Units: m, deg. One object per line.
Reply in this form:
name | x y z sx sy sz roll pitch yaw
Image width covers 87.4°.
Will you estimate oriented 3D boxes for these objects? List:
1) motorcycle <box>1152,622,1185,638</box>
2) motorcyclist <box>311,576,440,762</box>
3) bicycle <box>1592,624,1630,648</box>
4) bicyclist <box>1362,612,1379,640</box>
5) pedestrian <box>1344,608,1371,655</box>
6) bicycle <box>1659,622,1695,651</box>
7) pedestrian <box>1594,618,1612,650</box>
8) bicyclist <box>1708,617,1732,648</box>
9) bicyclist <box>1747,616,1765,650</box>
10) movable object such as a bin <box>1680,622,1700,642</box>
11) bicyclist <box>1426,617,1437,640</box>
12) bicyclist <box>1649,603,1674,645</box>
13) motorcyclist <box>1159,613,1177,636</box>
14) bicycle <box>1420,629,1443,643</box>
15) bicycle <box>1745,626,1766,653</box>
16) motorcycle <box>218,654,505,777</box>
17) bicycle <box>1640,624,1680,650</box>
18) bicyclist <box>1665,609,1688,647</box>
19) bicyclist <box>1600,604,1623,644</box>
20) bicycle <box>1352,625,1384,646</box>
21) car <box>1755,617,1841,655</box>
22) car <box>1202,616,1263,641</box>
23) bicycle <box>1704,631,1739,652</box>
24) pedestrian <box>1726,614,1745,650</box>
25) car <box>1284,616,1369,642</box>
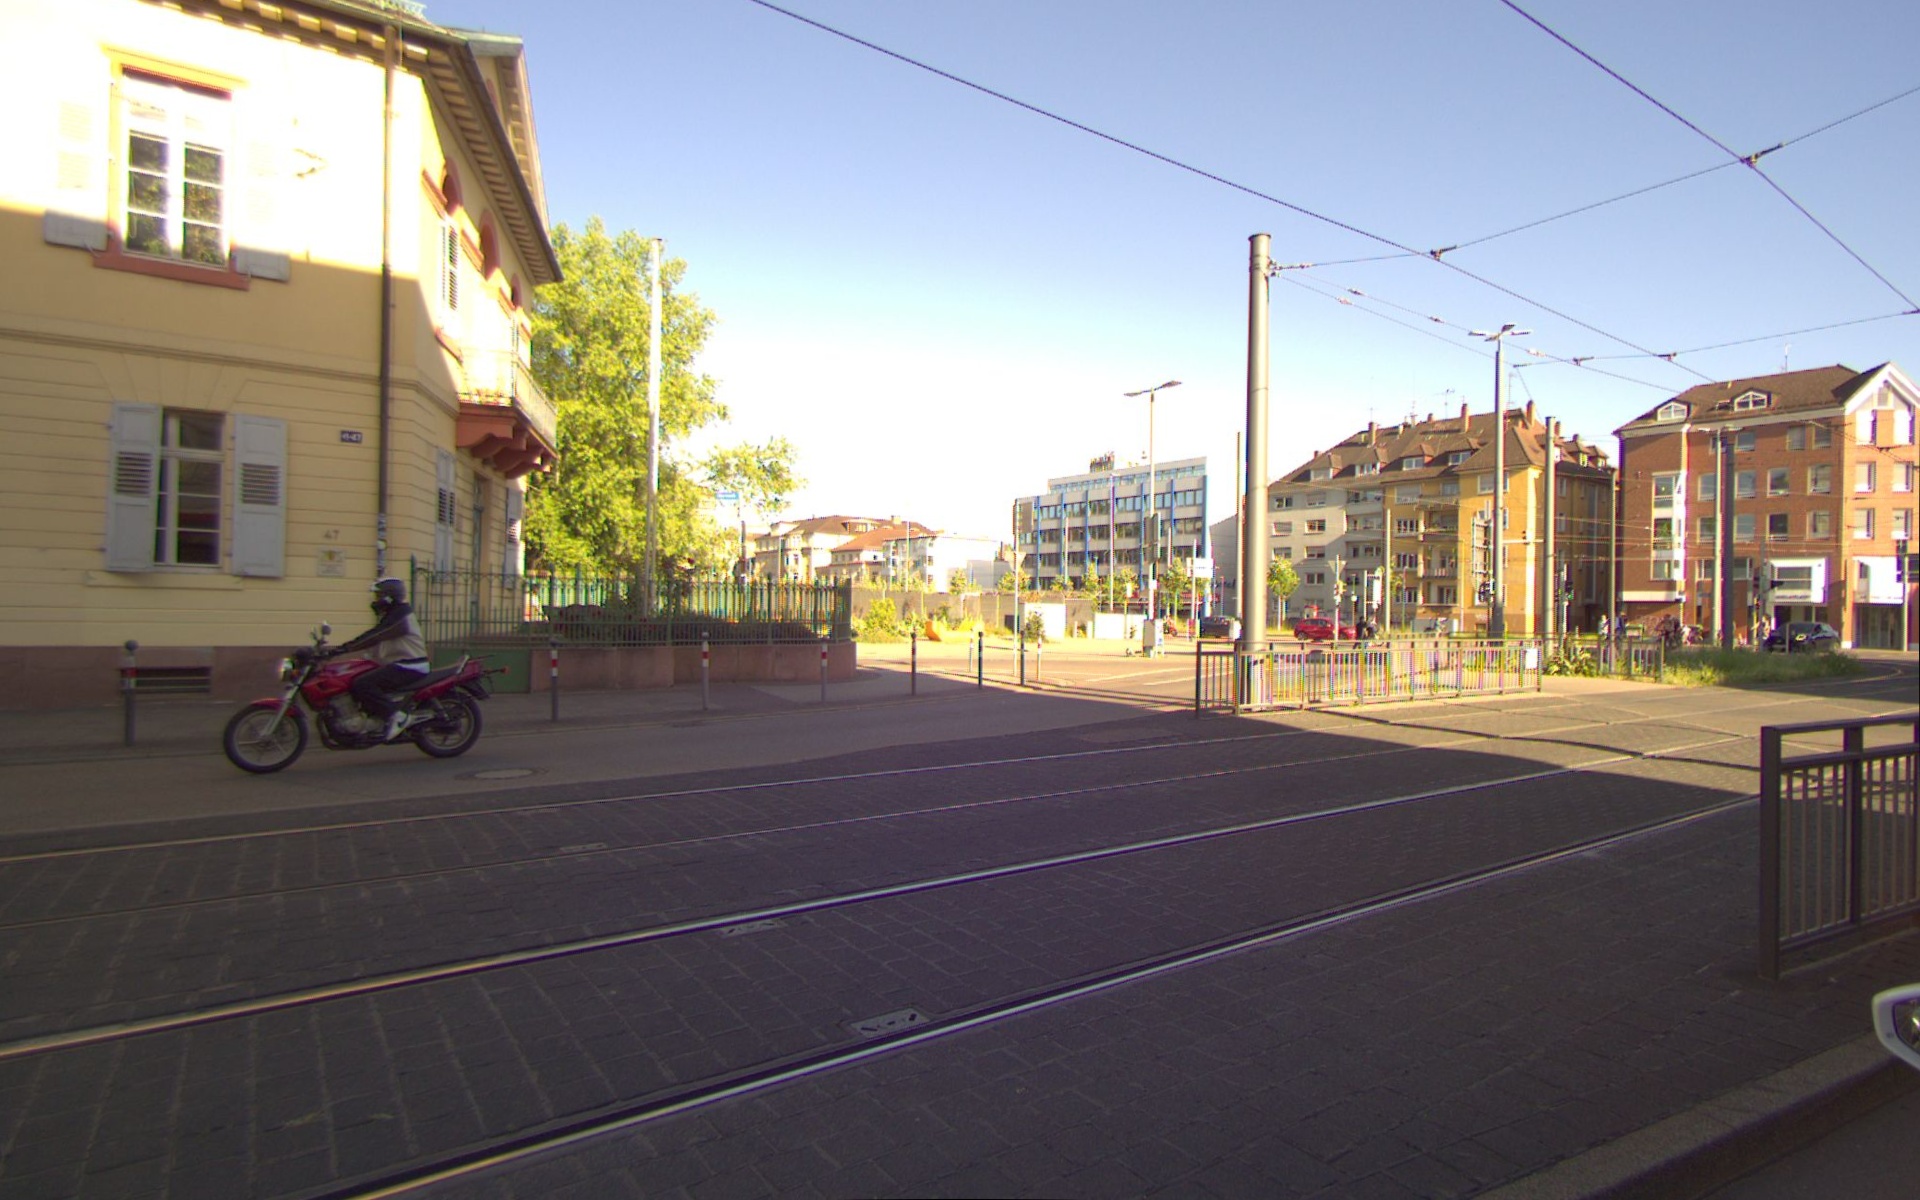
motorcycle | 14.449 2.076 69.717 0.784 0.997 2.342 2 0 -36
motorcyclist | -5.265 0.591 9.055 0.877 1.579 0.646 2 0 -40
bicycle | 28.060 1.556 43.278 1.862 1.027 0.527 2 0 -29
bicyclist | 22.276 1.399 54.500 0.605 1.513 0.608 2 0 -44
pedestrian | 16.850 1.345 42.588 0.784 1.959 0.724 2 0 -9
bicycle | 32.309 1.647 45.257 1.862 1.230 0.527 2 0 -29
pedestrian | 34.868 1.822 54.489 0.700 1.711 0.619 -1 2 -42
bicyclist | 37.493 1.615 49.545 0.721 1.473 0.661 2 0 -29
bicyclist | 40.132 1.662 50.661 0.801 1.671 0.582 2 0 -45
movable object such as a bin | 56.702 2.478 77.970 1.087 1.456 0.988 2 0 -39
bicyclist | 27.327 1.649 58.168 0.453 1.333 0.397 2 0 44
bicyclist | 28.452 0.976 40.741 0.761 1.695 0.522 2 0 -29
motorcyclist | 14.444 1.720 69.727 0.775 1.544 0.914 2 0 -36
bicycle | 27.280 2.073 58.173 1.160 0.774 0.318 2 0 45
bicycle | 40.160 2.000 50.716 2.013 1.308 0.568 2 0 -45
motorcycle | -5.316 0.979 9.033 2.139 0.939 0.594 2 0 -40
bicycle | 28.386 1.513 40.715 1.873 1.027 0.527 2 0 -29
bicyclist | 32.255 1.265 45.213 0.761 1.695 0.518 2 0 -29
bicyclist | 28.073 1.043 43.274 0.761 1.695 0.518 2 0 -29
bicycle | 22.171 1.928 54.594 0.608 1.148 1.481 2 -3 -43
car | 37.295 1.592 44.691 4.074 1.581 1.676 2 0 -30
car | 17.721 1.818 65.429 1.560 1.491 3.673 2 0 -36
bicycle | 37.617 2.050 49.638 1.862 1.027 0.647 2 0 -29
pedestrian | 45.504 1.872 58.937 0.819 2.040 0.592 2 0 -27
car | 21.720 1.715 59.713 1.768 1.529 4.513 1 -2 -39
